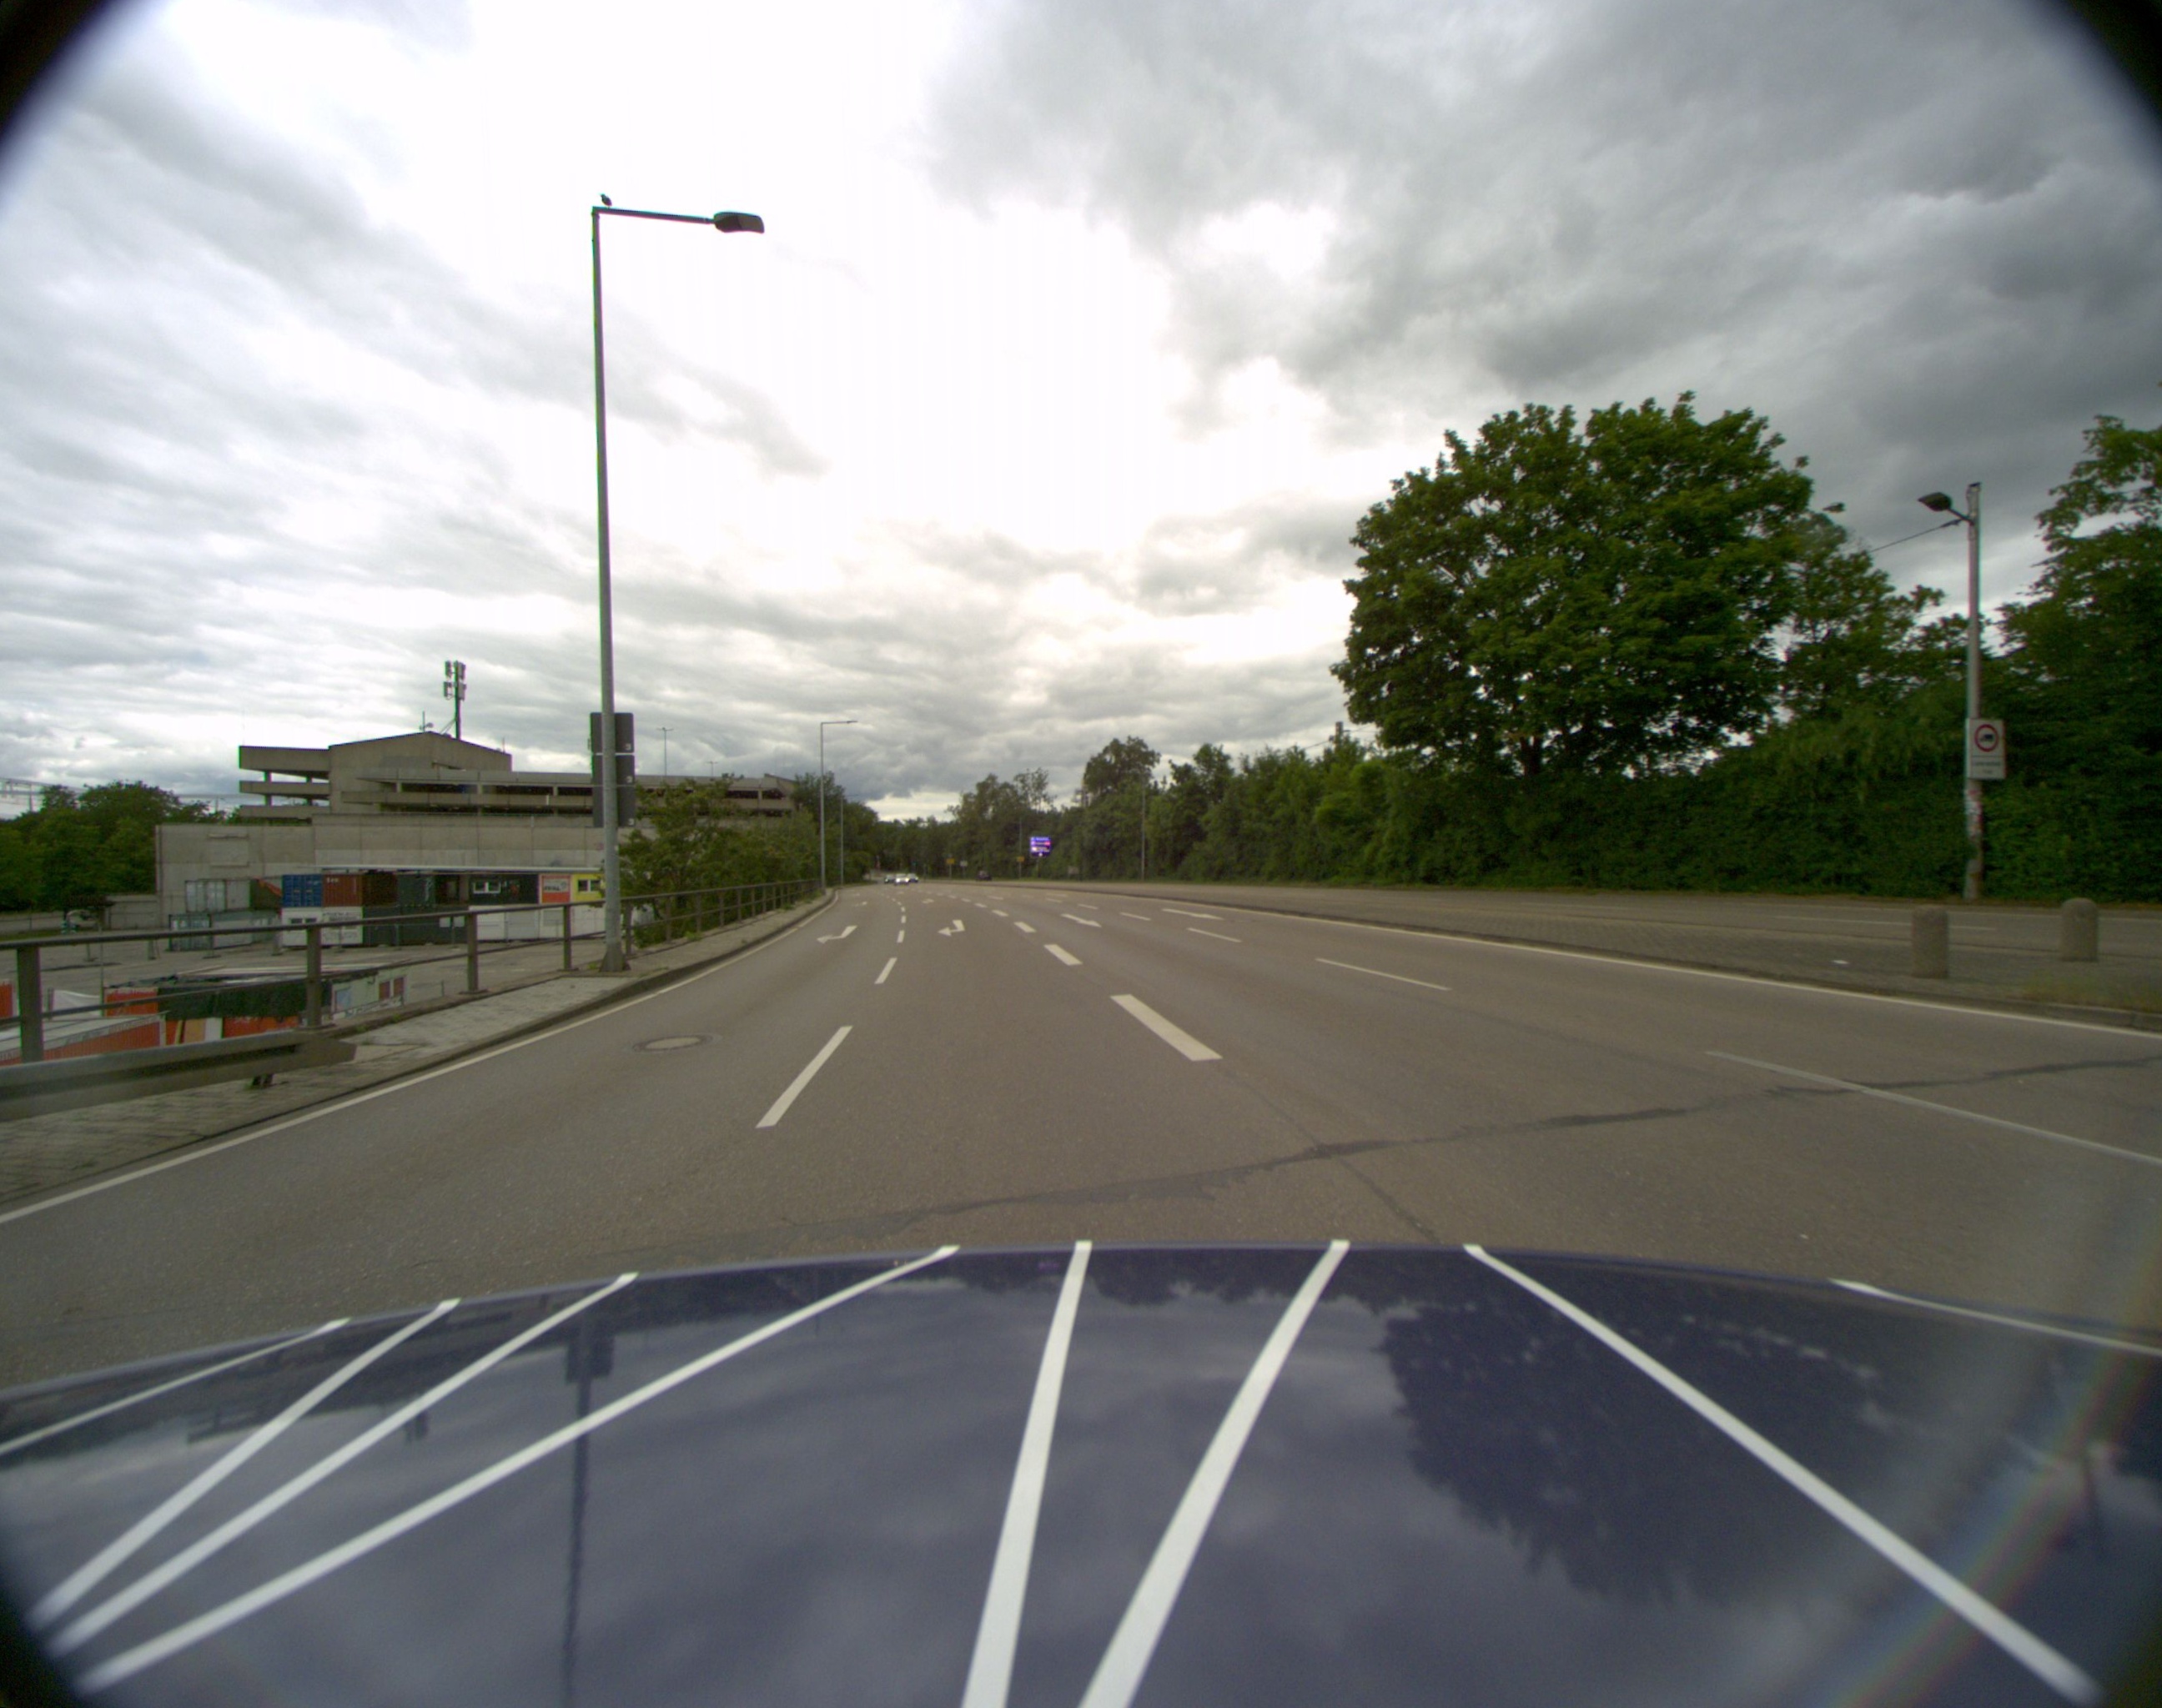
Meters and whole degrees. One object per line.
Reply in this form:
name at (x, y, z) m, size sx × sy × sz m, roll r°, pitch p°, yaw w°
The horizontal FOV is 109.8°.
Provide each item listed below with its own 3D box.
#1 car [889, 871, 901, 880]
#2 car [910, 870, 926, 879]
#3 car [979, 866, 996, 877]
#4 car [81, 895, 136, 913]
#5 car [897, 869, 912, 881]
car at (-30.515, 3.504, 124.852) m, size 1.867 × 1.408 × 4.334 m, roll -2°, pitch 0°, yaw -13°
car at (-25.727, 3.201, 119.908) m, size 1.845 × 1.408 × 4.573 m, roll -2°, pitch 0°, yaw -18°
car at (-12.950, 2.442, 105.197) m, size 1.705 × 1.455 × 3.995 m, roll -3°, pitch 0°, yaw -16°
car at (-116.199, 5.935, 90.858) m, size 2.001 × 1.805 × 3.994 m, roll -5°, pitch 1°, yaw -17°
car at (-22.529, 2.689, 97.072) m, size 1.611 × 1.408 × 3.586 m, roll -2°, pitch 0°, yaw -17°
